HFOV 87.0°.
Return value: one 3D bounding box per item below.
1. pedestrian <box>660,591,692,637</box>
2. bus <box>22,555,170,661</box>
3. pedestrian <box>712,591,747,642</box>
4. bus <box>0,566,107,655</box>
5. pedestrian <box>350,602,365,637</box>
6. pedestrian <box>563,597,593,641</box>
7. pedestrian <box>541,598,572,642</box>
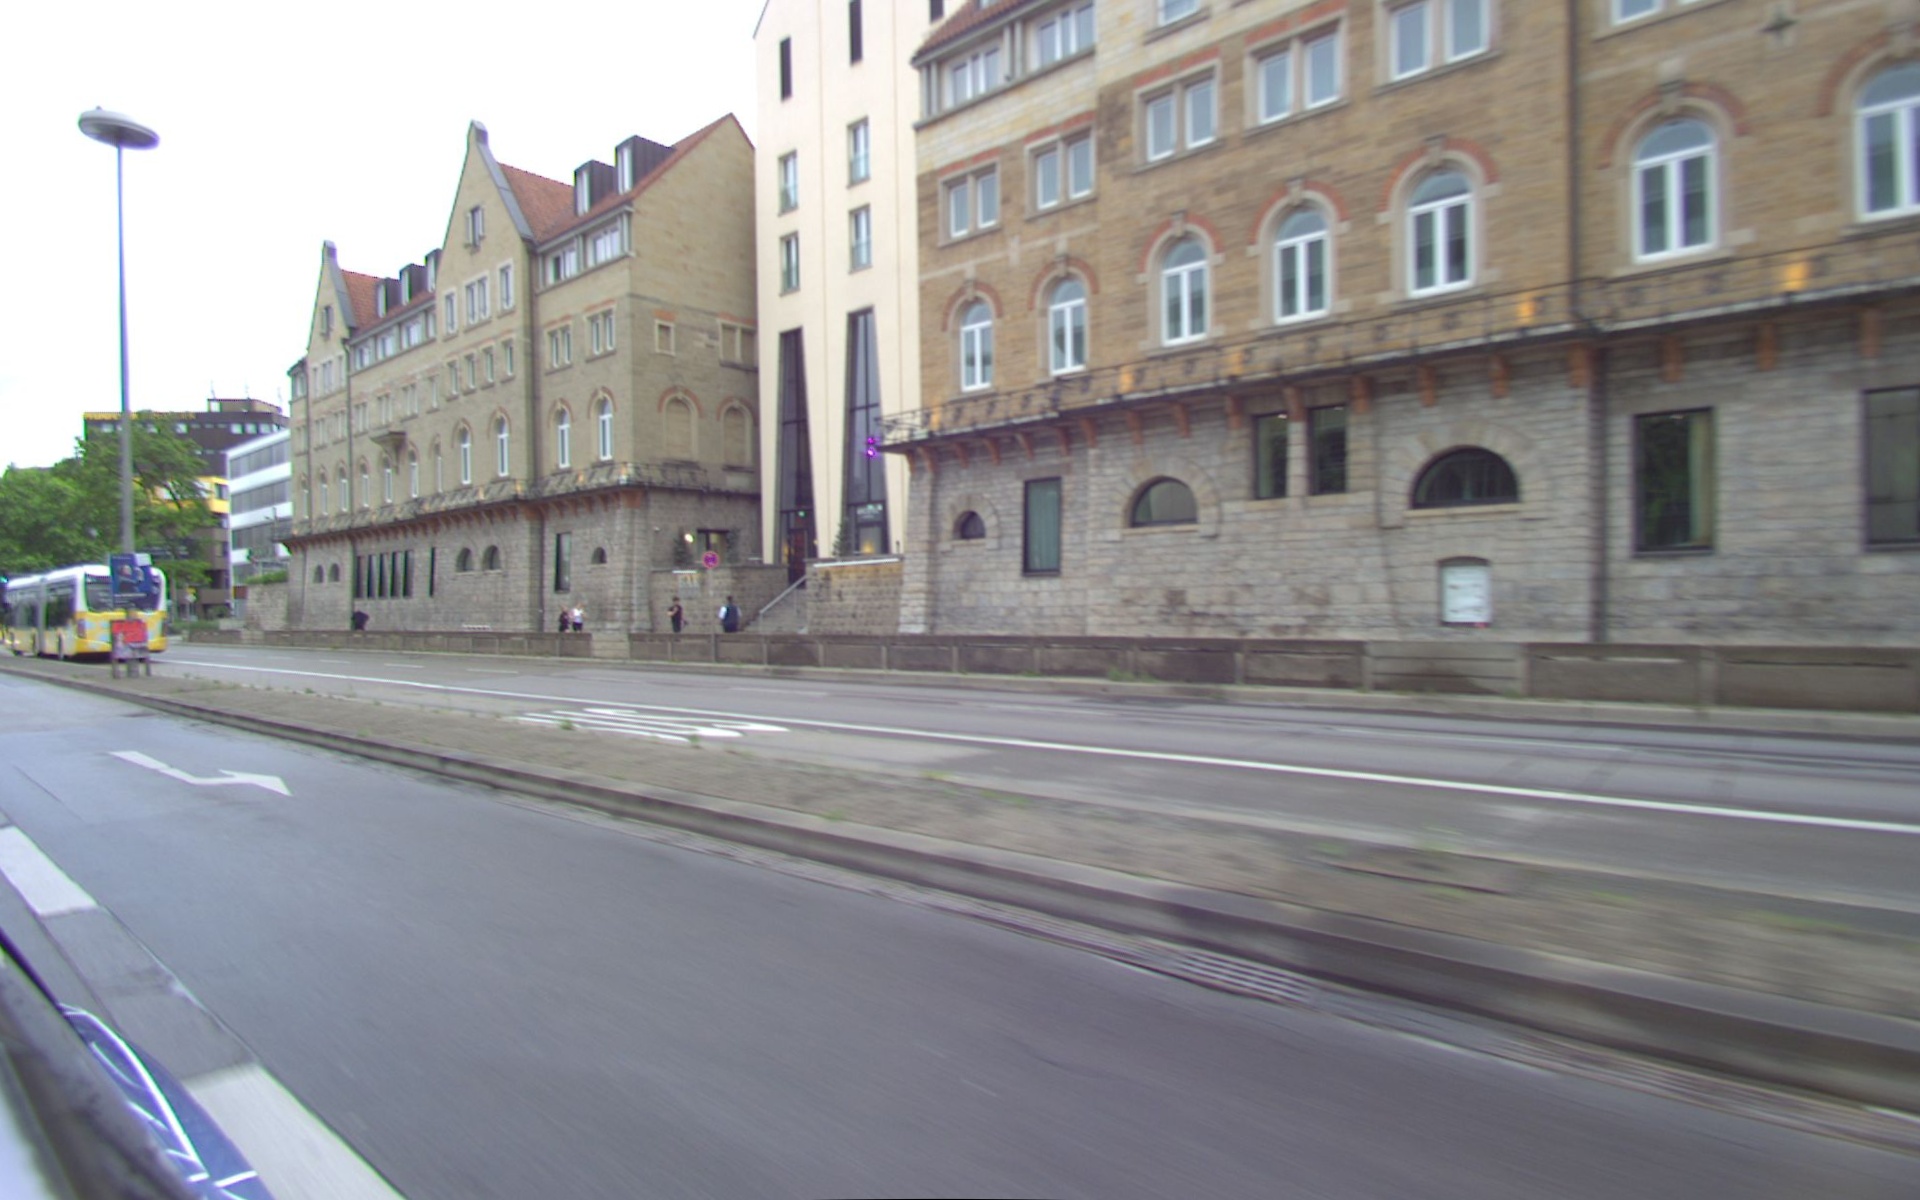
[{"bbox_3d":[-9.405,0.482,33.521,0.713,1.489,0.746,-4,-3,40],"label":"pedestrian"},{"bbox_3d":[-32.854,0.363,38.297,10.086,3.586,2.671,-1,-2,40],"label":"bus"},{"bbox_3d":[-6.811,0.495,29.903,0.745,1.489,0.714,1,-3,-45],"label":"pedestrian"},{"bbox_3d":[-40.731,0.510,44.971,10.086,3.586,2.671,-1,-1,40],"label":"bus"},{"bbox_3d":[-30.466,0.998,51.145,0.631,1.759,0.623,0,-3,-31],"label":"pedestrian"},{"bbox_3d":[-13.483,0.673,35.736,0.713,1.489,0.746,-4,-3,40],"label":"pedestrian"},{"bbox_3d":[-14.002,0.690,35.103,0.713,1.489,0.746,-4,-3,40],"label":"pedestrian"}]
